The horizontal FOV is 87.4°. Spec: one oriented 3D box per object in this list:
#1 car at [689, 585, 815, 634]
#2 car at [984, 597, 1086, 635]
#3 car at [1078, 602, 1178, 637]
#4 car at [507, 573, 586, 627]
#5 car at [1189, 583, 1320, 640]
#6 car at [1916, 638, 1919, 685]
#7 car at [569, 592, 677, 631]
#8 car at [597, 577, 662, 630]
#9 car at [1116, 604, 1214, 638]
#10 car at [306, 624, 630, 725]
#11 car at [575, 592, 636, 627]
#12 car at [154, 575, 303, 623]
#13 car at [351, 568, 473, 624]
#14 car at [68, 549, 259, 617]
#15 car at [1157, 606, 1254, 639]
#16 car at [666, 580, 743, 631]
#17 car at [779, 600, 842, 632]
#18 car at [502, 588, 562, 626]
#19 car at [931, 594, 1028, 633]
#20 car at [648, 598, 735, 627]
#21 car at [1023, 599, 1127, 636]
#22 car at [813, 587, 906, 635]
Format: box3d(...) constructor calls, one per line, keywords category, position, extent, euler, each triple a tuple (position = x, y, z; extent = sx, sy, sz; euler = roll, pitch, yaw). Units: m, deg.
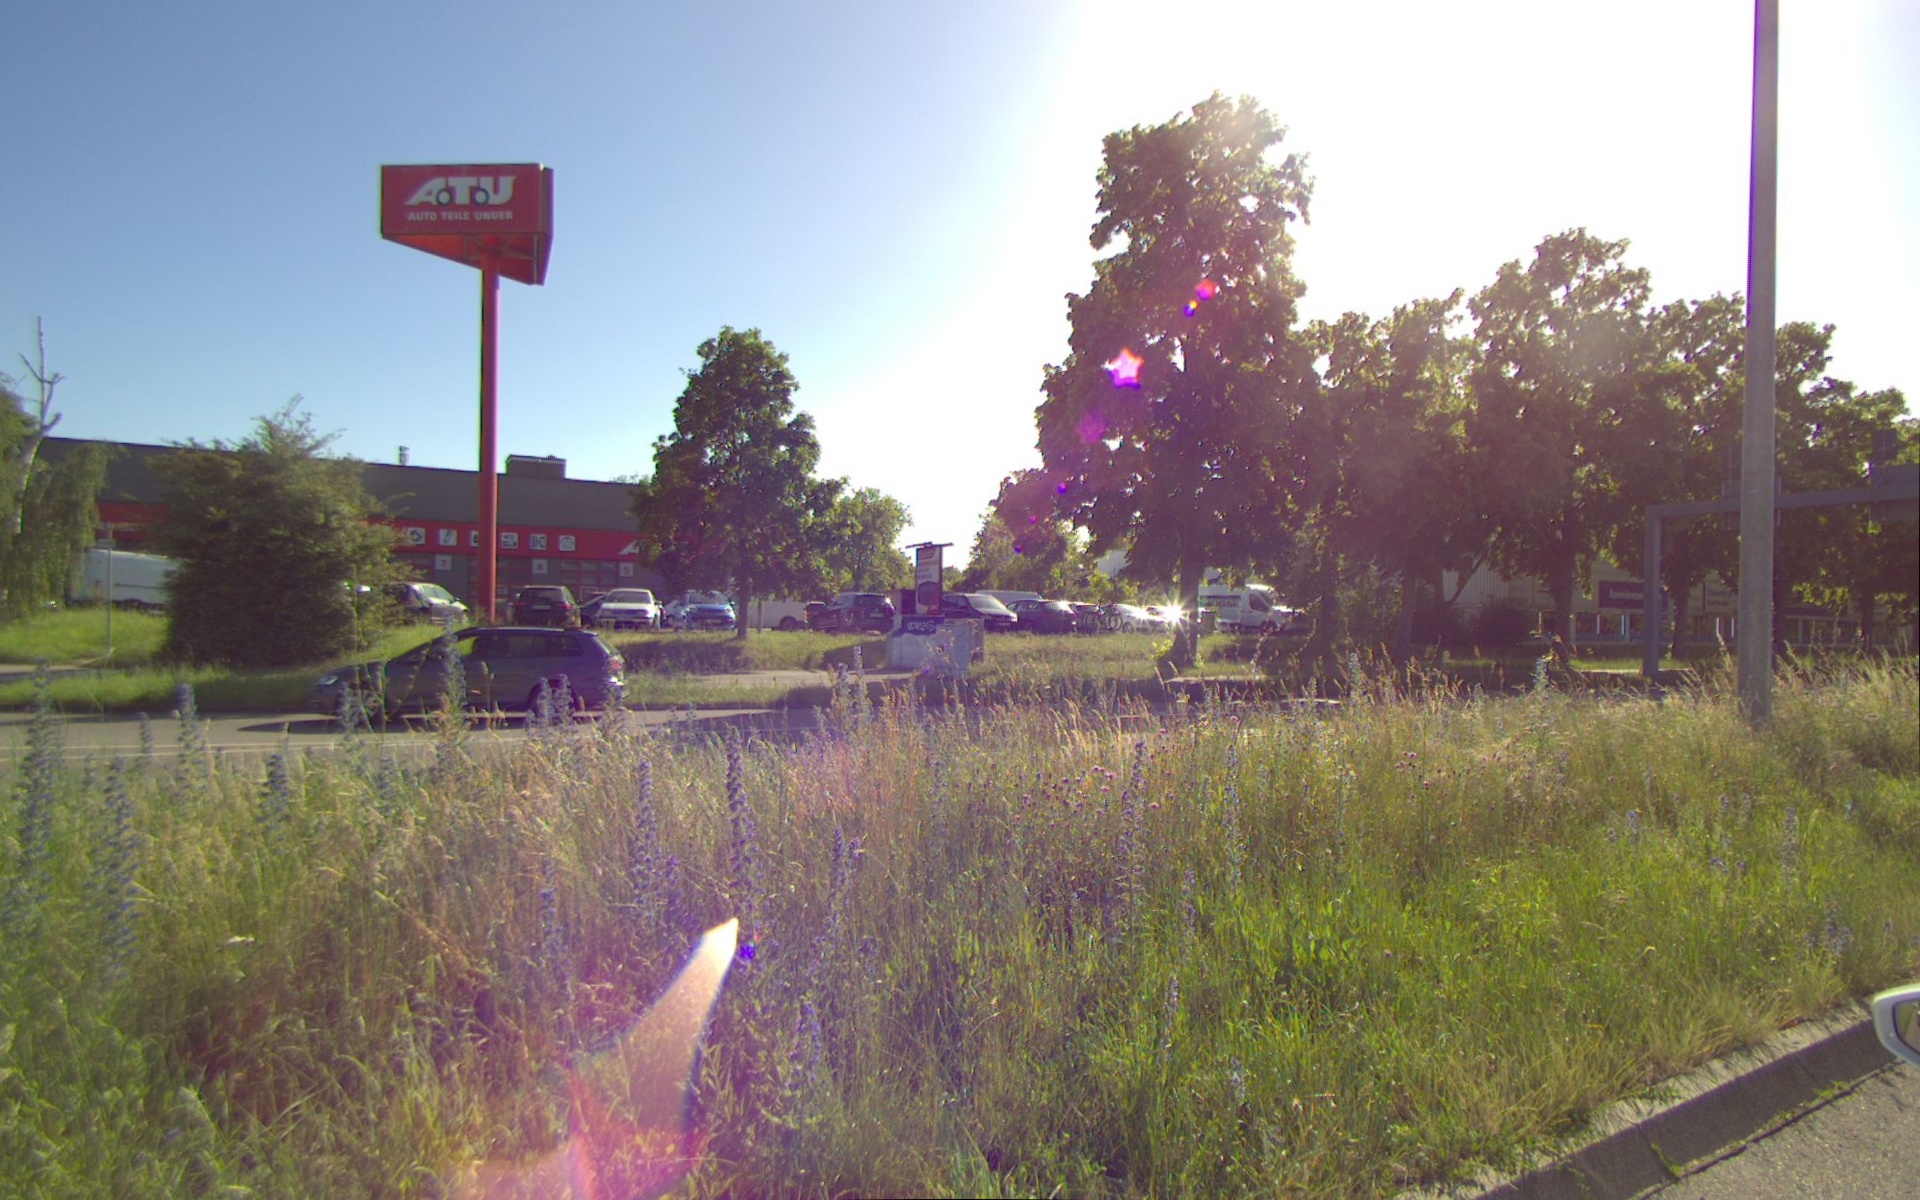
box3d(category="car", position=(-9.028, 0.461, 43.662), extent=(5.062, 1.982, 1.774), euler=(2, -1, -26))
box3d(category="car", position=(2.872, 0.625, 39.382), extent=(1.925, 1.407, 4.095), euler=(2, -1, -32))
box3d(category="car", position=(6.995, 0.820, 42.280), extent=(1.925, 1.407, 4.095), euler=(2, -1, -32))
box3d(category="car", position=(-13.004, 0.044, 31.822), extent=(1.865, 1.572, 4.117), euler=(1, -1, -17))
box3d(category="car", position=(13.481, 0.564, 46.413), extent=(2.183, 2.465, 5.844), euler=(2, -1, -32))
box3d(category="car", position=(34.148, 2.075, 33.633), extent=(4.518, 1.563, 1.868), euler=(2, -3, -30))
box3d(category="car", position=(-13.710, 0.492, 40.883), extent=(3.935, 1.474, 1.772), euler=(2, -1, -29))
box3d(category="car", position=(-10.741, 0.141, 32.644), extent=(1.866, 1.572, 4.115), euler=(1, -1, -18))
box3d(category="car", position=(8.933, 0.911, 43.989), extent=(1.925, 1.407, 4.095), euler=(2, -1, -32))
box3d(category="car", position=(-7.531, 1.152, 15.883), extent=(4.311, 1.444, 1.780), euler=(1, -3, -17))
box3d(category="car", position=(-15.714, 0.432, 44.418), extent=(1.873, 1.474, 4.099), euler=(2, -1, -29))
box3d(category="car", position=(-24.493, 0.005, 33.834), extent=(1.857, 1.474, 4.133), euler=(1, -1, 3))
box3d(category="car", position=(-16.721, -0.070, 30.904), extent=(1.860, 1.572, 4.127), euler=(1, -1, -7))
box3d(category="car", position=(-28.518, -0.539, 36.164), extent=(1.861, 2.180, 5.040), euler=(0, -1, 28))
box3d(category="car", position=(11.048, 1.007, 45.493), extent=(1.925, 1.407, 4.095), euler=(2, -1, -32))
box3d(category="car", position=(-8.623, 0.201, 33.660), extent=(1.793, 1.572, 4.107), euler=(1, -1, -24))
box3d(category="car", position=(-7.377, 0.810, 49.295), extent=(1.871, 1.474, 4.103), euler=(2, -1, -27))
box3d(category="car", position=(-18.185, 0.323, 42.567), extent=(1.873, 1.474, 4.099), euler=(2, -1, -29))
box3d(category="car", position=(0.684, 0.531, 38.654), extent=(1.924, 1.407, 4.098), euler=(2, -1, -30))
box3d(category="car", position=(-14.472, 0.681, 54.137), extent=(4.234, 1.474, 1.881), euler=(2, -1, -29))
box3d(category="car", position=(4.612, 0.700, 40.908), extent=(1.923, 1.407, 4.600), euler=(2, -1, -29))
box3d(category="car", position=(-3.613, 0.416, 35.402), extent=(1.921, 1.572, 4.104), euler=(2, -1, -26))
